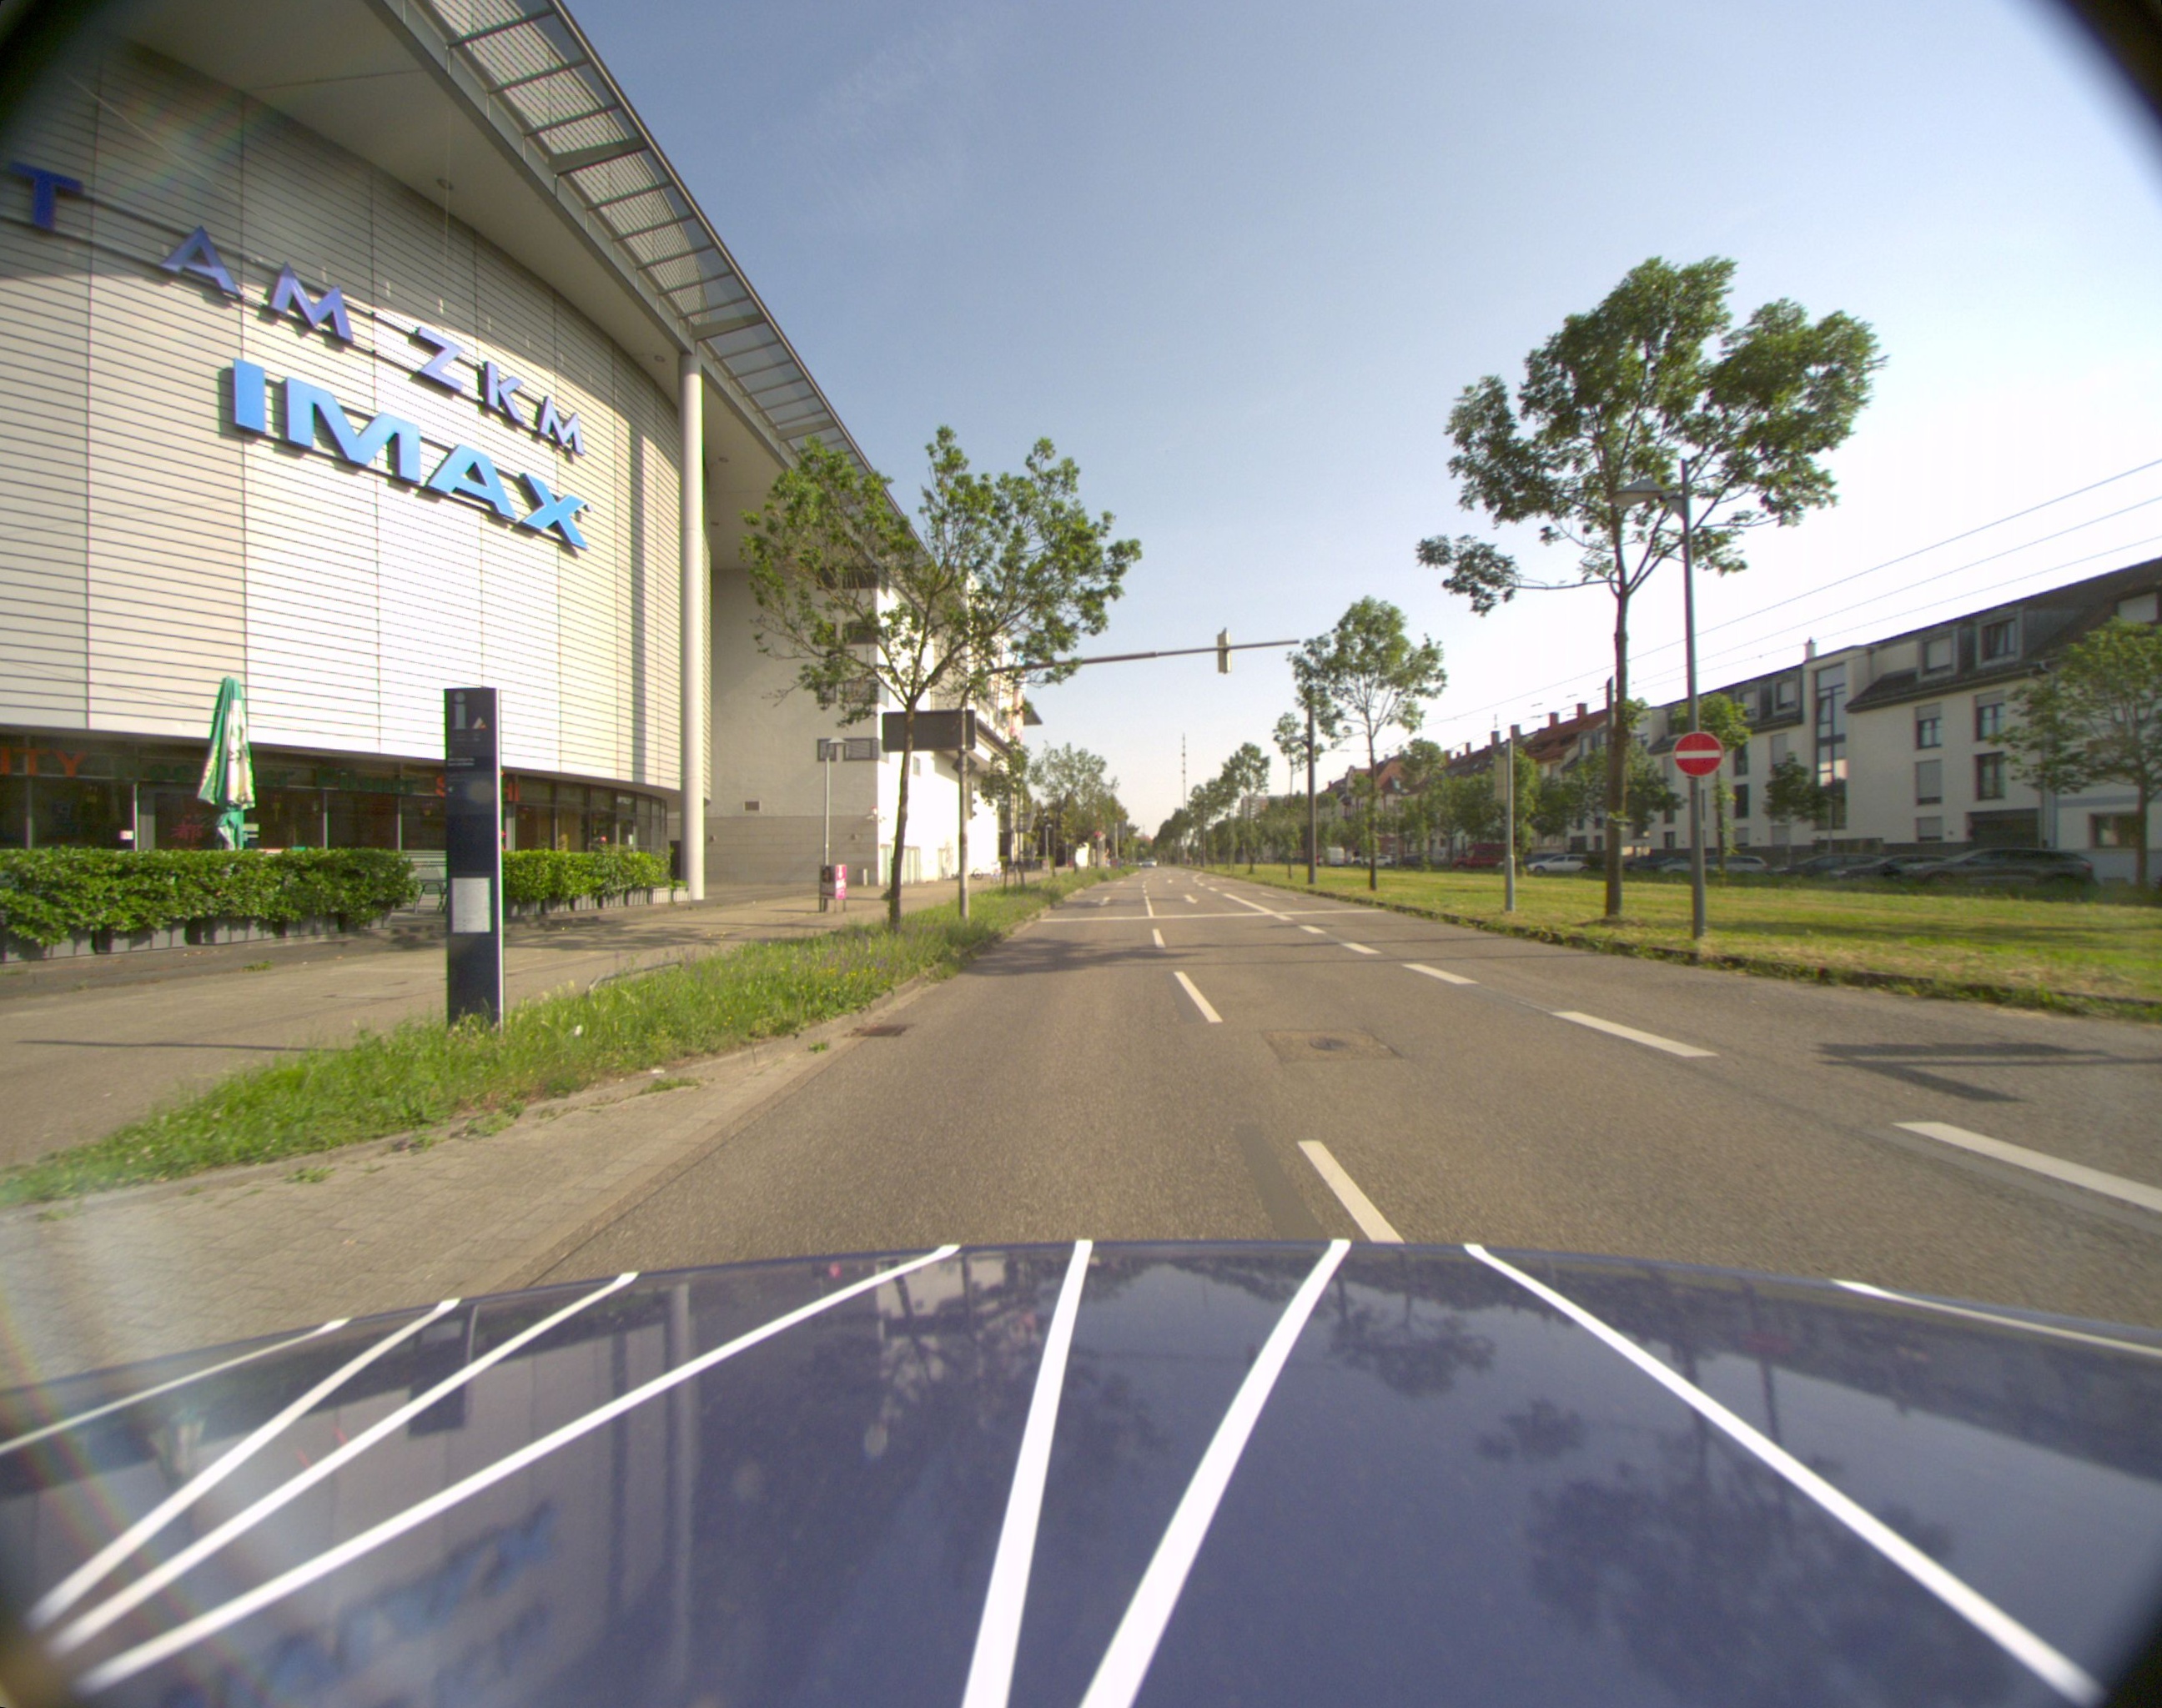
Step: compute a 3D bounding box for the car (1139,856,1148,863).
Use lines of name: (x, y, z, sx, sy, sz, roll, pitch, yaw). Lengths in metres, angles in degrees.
car: (14.926, 1.237, 182.365, 1.998, 1.652, 4.001, -1, 0, 4)

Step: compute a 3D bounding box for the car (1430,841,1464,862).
car: (44.420, -0.265, 92.331, 1.998, 2.449, 5.580, 0, 0, 5)

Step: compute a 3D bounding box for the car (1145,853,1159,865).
car: (10.625, 0.730, 113.567, 1.998, 1.652, 4.001, -1, 0, 4)

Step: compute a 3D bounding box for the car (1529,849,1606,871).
car: (33.952, 0.419, 53.046, 4.387, 1.312, 1.737, -2, 0, 37)

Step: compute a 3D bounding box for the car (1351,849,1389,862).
car: (37.253, 0.163, 97.948, 4.088, 1.520, 1.816, -2, 0, 42)

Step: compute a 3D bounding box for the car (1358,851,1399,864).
car: (37.197, 0.422, 94.994, 4.355, 1.466, 1.861, -2, 0, 42)

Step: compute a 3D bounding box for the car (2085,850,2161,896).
car: (31.315, 0.495, 20.990, 3.989, 1.227, 1.702, -2, 0, 38)

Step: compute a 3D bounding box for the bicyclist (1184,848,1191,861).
bicyclist: (15.520, 0.076, 110.601, 0.869, 1.812, 0.909, 0, 1, 15)

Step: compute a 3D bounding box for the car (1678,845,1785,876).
car: (32.065, 0.322, 37.602, 3.771, 1.368, 1.667, -2, 0, 30)

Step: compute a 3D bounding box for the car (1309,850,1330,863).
car: (32.685, 0.386, 104.200, 1.819, 1.727, 4.163, 1, 0, 6)

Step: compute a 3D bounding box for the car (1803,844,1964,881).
car: (31.839, 0.335, 30.330, 3.990, 1.280, 2.004, -2, 0, 30)

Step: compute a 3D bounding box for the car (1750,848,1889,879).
car: (32.189, 0.400, 33.307, 3.989, 1.280, 2.004, 0, 0, 30)

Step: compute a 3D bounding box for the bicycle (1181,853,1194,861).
bicycle: (15.497, 0.405, 110.611, 1.749, 1.139, 0.577, -1, 1, 14)

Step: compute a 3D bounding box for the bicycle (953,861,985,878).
bicycle: (-7.621, 1.041, 51.545, 2.012, 1.096, 0.676, -1, 0, 9)

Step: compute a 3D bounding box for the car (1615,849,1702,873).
car: (34.545, 0.406, 45.616, 3.989, 1.368, 1.839, 0, 0, 31)

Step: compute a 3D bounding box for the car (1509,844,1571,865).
car: (34.076, 0.037, 56.430, 3.711, 1.426, 1.645, -2, 0, 37)

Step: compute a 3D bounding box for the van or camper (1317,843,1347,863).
van or camper: (31.994, -0.115, 96.944, 2.146, 2.459, 6.060, 1, 0, 4)

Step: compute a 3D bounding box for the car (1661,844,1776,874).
car: (33.323, 0.266, 39.892, 4.329, 1.368, 2.004, -2, 0, 30)

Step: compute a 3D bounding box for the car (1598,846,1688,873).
car: (32.466, 0.340, 44.036, 3.989, 1.368, 1.931, -2, 0, 31)

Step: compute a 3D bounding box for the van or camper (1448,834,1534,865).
van or camper: (35.461, -0.325, 65.851, 6.144, 2.532, 2.419, -1, 0, 42)

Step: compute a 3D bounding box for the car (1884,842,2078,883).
car: (32.032, 0.295, 27.254, 4.049, 1.280, 2.004, -2, 0, 32)

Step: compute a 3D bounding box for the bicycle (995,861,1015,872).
bicycle: (-6.593, 1.073, 66.119, 1.661, 0.910, 0.483, -1, 0, 5)
